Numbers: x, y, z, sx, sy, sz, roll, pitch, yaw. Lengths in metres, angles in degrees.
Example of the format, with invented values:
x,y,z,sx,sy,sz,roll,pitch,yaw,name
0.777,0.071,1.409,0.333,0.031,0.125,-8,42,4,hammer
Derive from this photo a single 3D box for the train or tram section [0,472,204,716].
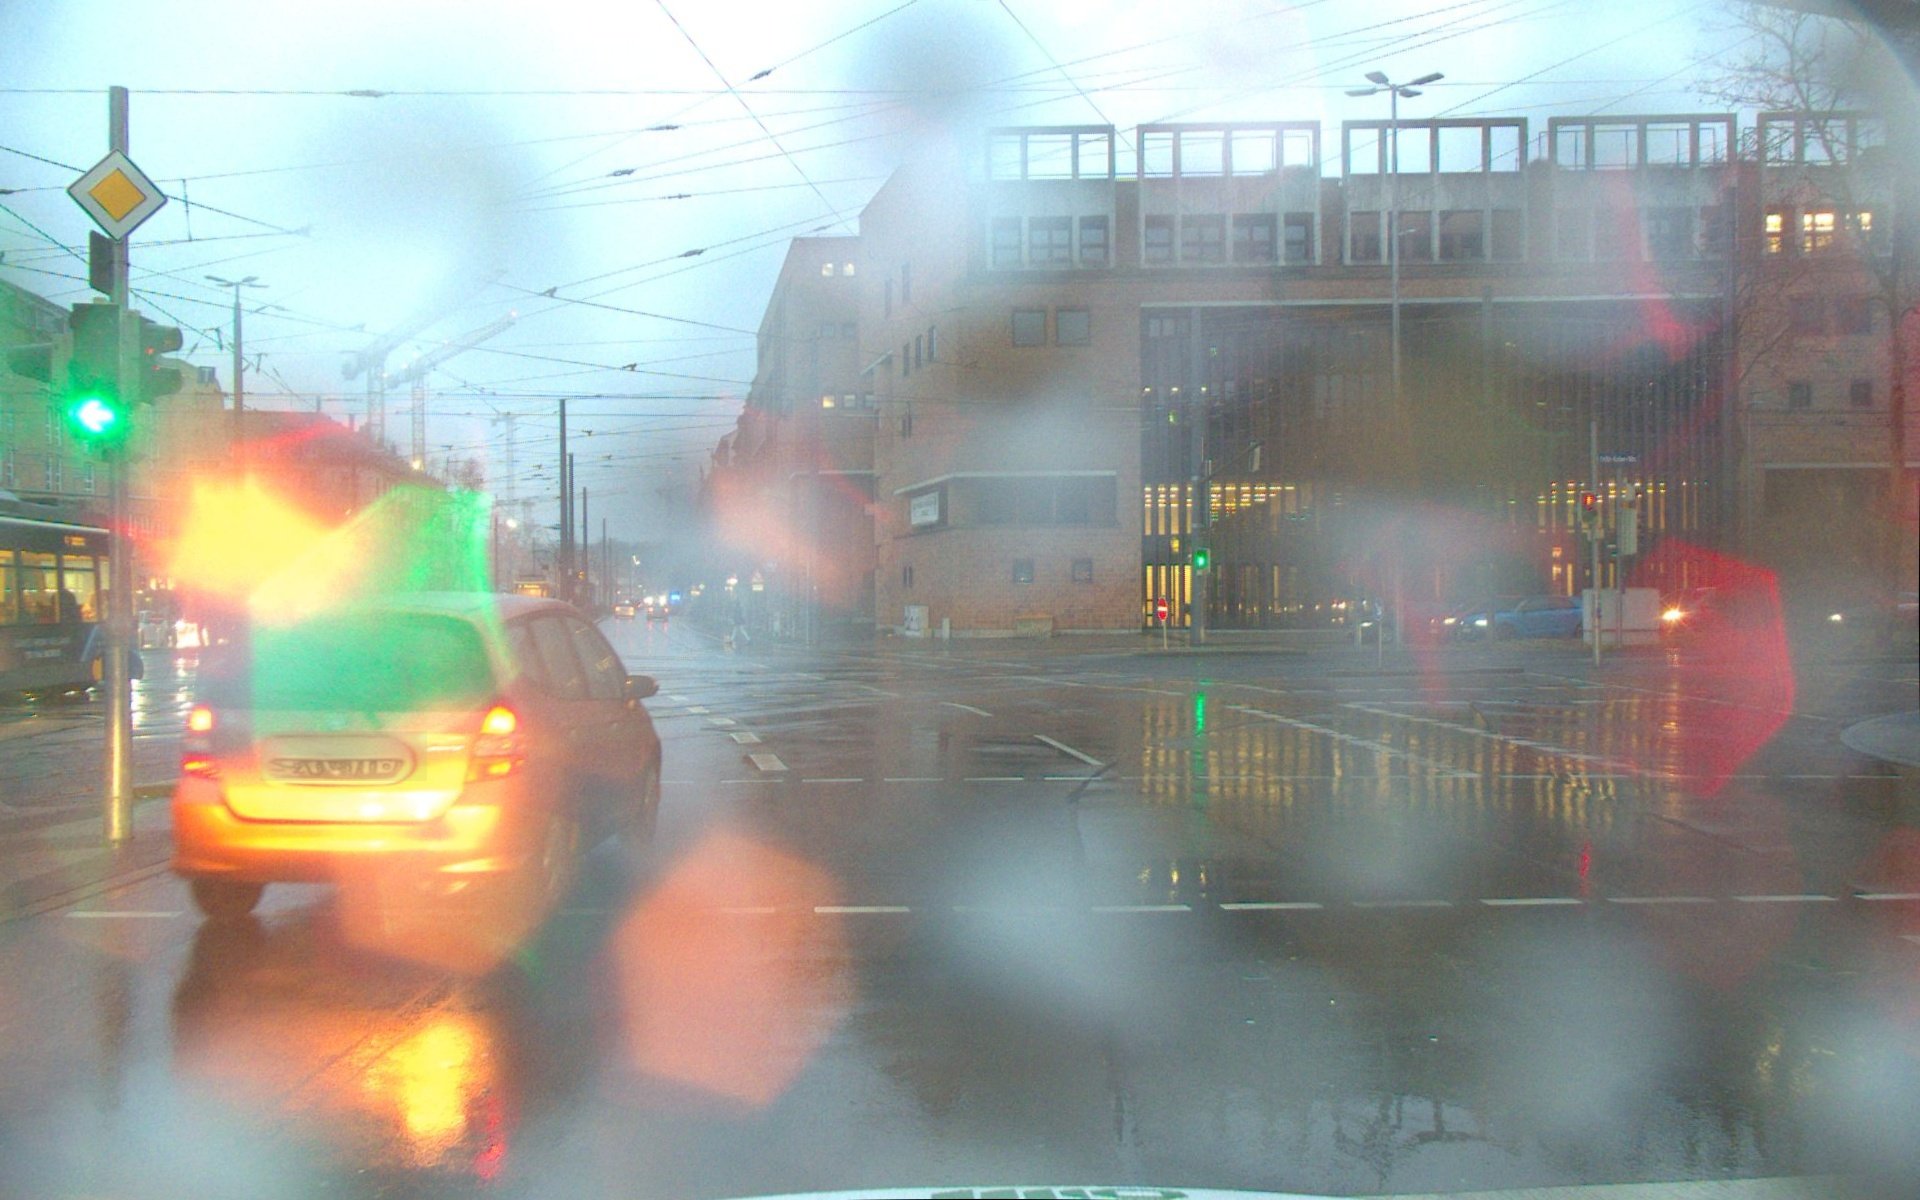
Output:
x,y,z,sx,sy,sz,roll,pitch,yaw,name
-15.785,-0.072,24.024,2.810,3.677,19.186,-1,0,-6,train or tram section

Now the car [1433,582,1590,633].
x,y,z,sx,sy,sz,roll,pitch,yaw,name
15.987,0.208,48.048,3.910,1.284,1.846,-1,4,-7,car

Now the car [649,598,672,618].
x,y,z,sx,sy,sz,roll,pitch,yaw,name
-26.087,0.686,144.044,1.836,1.606,3.992,2,0,-9,car

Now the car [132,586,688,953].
x,y,z,sx,sy,sz,roll,pitch,yaw,name
-2.573,0.695,8.696,1.663,1.485,3.757,-1,0,0,car

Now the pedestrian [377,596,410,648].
x,y,z,sx,sy,sz,roll,pitch,yaw,name
-22.834,0.880,66.671,0.959,2.049,0.835,0,0,14,pedestrian

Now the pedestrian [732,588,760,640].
x,y,z,sx,sy,sz,roll,pitch,yaw,name
-8.528,0.548,65.863,1.050,2.049,0.683,0,0,-14,pedestrian

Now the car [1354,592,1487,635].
x,y,z,sx,sy,sz,roll,pitch,yaw,name
15.548,0.449,55.954,3.909,1.333,1.998,-1,0,-5,car

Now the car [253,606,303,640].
x,y,z,sx,sy,sz,roll,pitch,yaw,name
-34.875,1.153,84.647,1.756,1.652,3.852,0,0,-14,car

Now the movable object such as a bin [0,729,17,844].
x,y,z,sx,sy,sz,roll,pitch,yaw,name
-6.262,1.183,10.296,0.403,0.711,0.538,-3,-1,23,movable object such as a bin

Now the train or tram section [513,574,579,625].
x,y,z,sx,sy,sz,roll,pitch,yaw,name
-32.257,-0.029,129.873,3.133,3.496,27.760,-1,0,-10,train or tram section

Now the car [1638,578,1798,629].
x,y,z,sx,sy,sz,roll,pitch,yaw,name
22.358,0.088,48.852,3.910,1.310,1.846,-1,4,-7,car

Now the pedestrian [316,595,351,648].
x,y,z,sx,sy,sz,roll,pitch,yaw,name
-24.341,0.836,64.239,0.959,2.049,0.835,0,0,14,pedestrian

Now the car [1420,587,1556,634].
x,y,z,sx,sy,sz,roll,pitch,yaw,name
16.613,0.315,52.144,3.649,1.284,1.846,-1,4,-7,car

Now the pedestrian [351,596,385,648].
x,y,z,sx,sy,sz,roll,pitch,yaw,name
-23.408,0.858,65.392,0.959,2.049,0.835,0,0,14,pedestrian

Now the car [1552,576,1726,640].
x,y,z,sx,sy,sz,roll,pitch,yaw,name
18.239,0.204,44.503,3.910,1.530,1.846,-1,4,-7,car

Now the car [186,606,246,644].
x,y,z,sx,sy,sz,roll,pitch,yaw,name
-33.257,1.108,74.055,1.756,1.652,3.852,0,0,-14,car

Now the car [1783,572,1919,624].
x,y,z,sx,sy,sz,roll,pitch,yaw,name
29.342,-0.088,54.126,3.910,1.530,1.846,-1,4,-7,car

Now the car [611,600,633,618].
x,y,z,sx,sy,sz,roll,pitch,yaw,name
-31.096,0.818,152.038,1.837,1.606,3.990,2,0,-10,car
